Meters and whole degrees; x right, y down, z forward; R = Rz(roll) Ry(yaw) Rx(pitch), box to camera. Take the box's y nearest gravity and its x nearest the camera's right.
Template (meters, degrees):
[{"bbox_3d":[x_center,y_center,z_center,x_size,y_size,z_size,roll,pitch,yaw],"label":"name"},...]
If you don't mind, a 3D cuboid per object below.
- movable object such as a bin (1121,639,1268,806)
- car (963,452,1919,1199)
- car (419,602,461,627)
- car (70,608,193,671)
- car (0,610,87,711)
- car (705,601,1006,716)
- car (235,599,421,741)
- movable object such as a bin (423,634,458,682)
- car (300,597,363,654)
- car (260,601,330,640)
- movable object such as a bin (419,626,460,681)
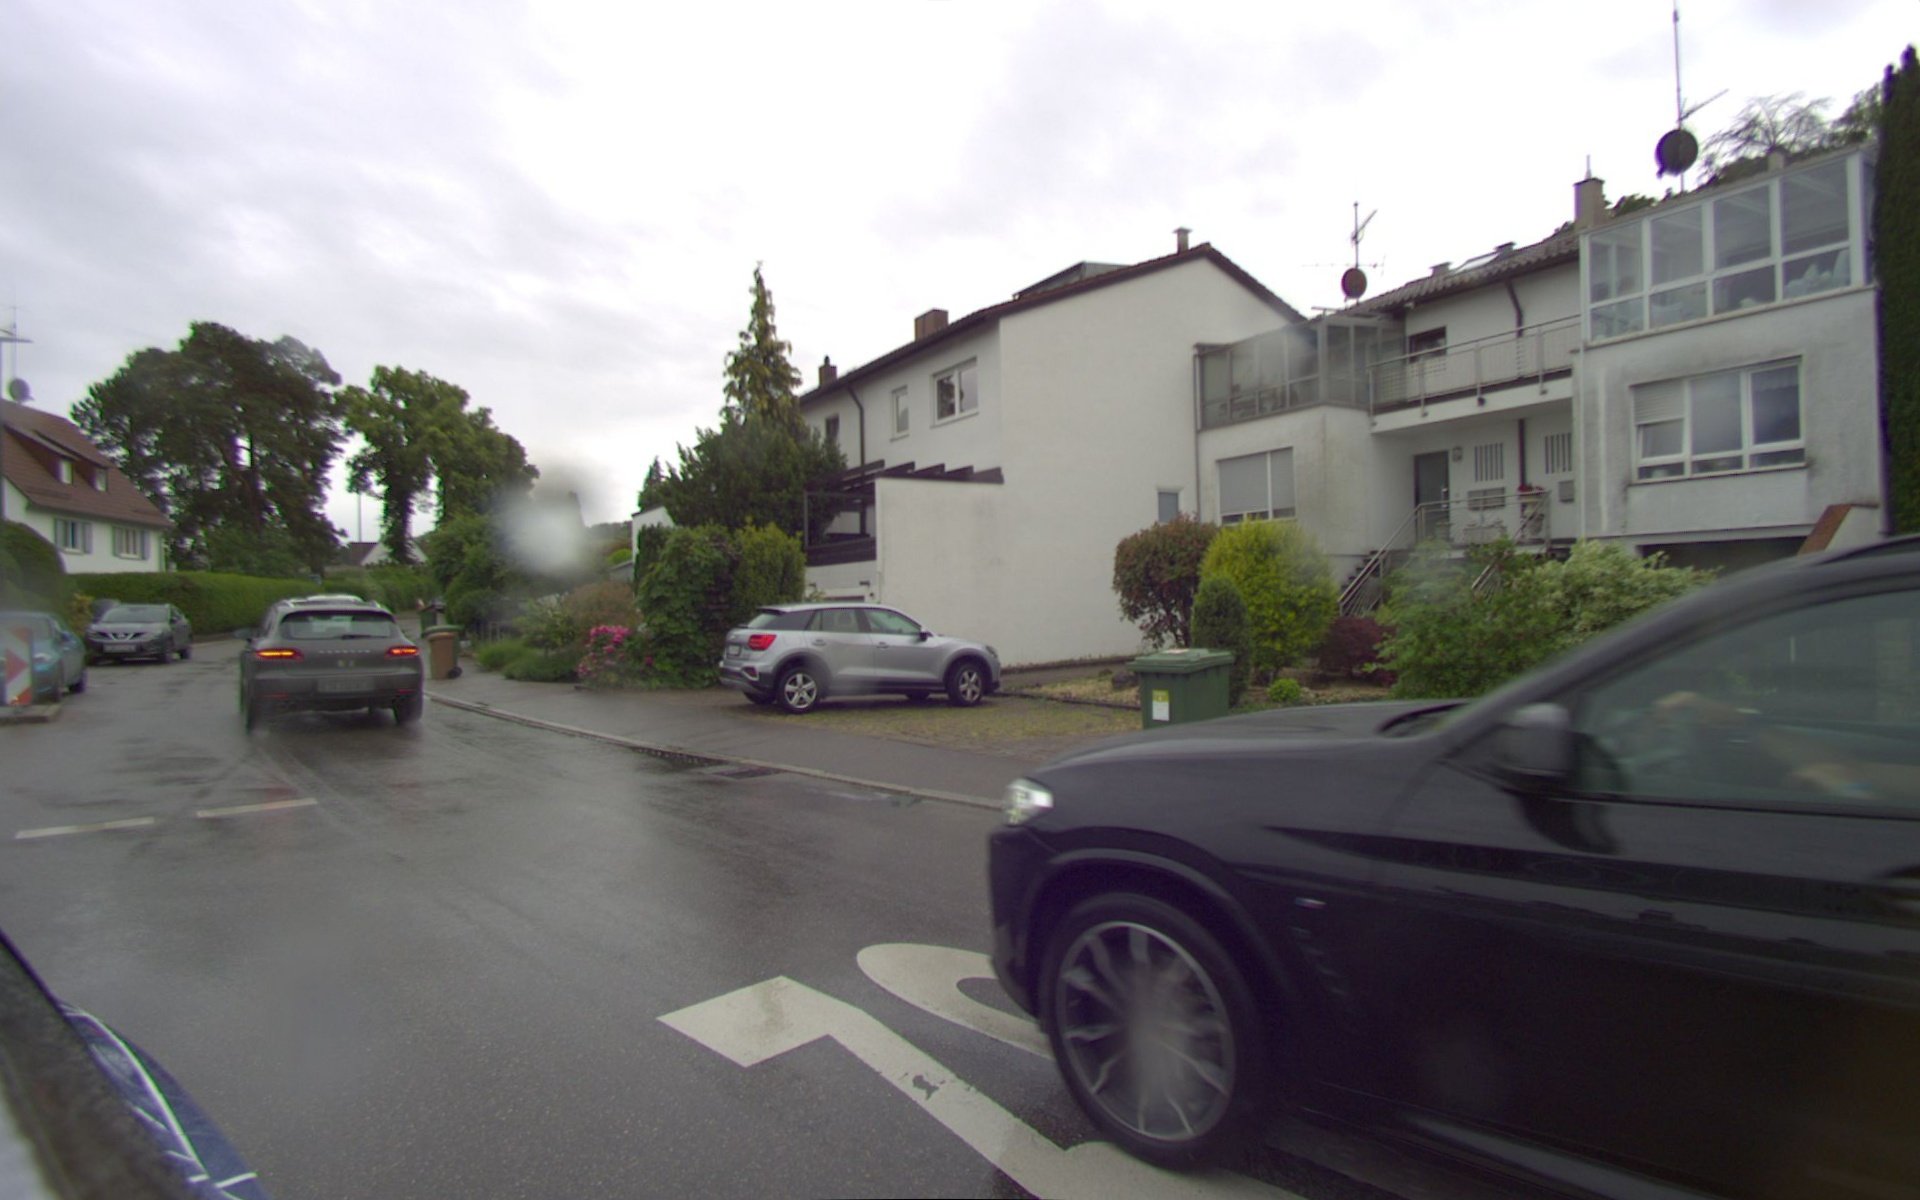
[{"bbox_3d":[1.711,0.849,7.369,0.835,1.076,0.623,-3,0,-40],"label":"movable object such as a bin"},{"bbox_3d":[2.232,0.583,2.172,4.344,1.617,1.908,-1,-1,44],"label":"car"},{"bbox_3d":[-35.639,0.971,69.445,1.638,1.651,4.227,-1,0,-14],"label":"car"},{"bbox_3d":[-22.521,1.016,27.677,1.875,1.553,4.229,-1,0,-30],"label":"car"},{"bbox_3d":[-15.631,0.916,16.390,1.771,1.480,4.226,-1,0,-34],"label":"car"},{"bbox_3d":[-1.481,0.789,14.649,3.931,1.451,1.774,1,-1,-29],"label":"car"},{"bbox_3d":[-8.730,0.824,13.813,1.765,1.606,4.225,-1,0,-37],"label":"car"},{"bbox_3d":[-10.510,1.162,20.483,0.571,0.946,0.505,2,-3,-32],"label":"movable object such as a bin"},{"bbox_3d":[-21.910,0.846,35.268,1.752,1.879,4.228,0,-1,-32],"label":"car"},{"bbox_3d":[-30.016,0.883,45.796,1.637,1.651,4.229,-1,0,-19],"label":"car"},{"bbox_3d":[-10.748,1.100,20.896,0.682,1.100,0.421,2,-3,-32],"label":"movable object such as a bin"}]
